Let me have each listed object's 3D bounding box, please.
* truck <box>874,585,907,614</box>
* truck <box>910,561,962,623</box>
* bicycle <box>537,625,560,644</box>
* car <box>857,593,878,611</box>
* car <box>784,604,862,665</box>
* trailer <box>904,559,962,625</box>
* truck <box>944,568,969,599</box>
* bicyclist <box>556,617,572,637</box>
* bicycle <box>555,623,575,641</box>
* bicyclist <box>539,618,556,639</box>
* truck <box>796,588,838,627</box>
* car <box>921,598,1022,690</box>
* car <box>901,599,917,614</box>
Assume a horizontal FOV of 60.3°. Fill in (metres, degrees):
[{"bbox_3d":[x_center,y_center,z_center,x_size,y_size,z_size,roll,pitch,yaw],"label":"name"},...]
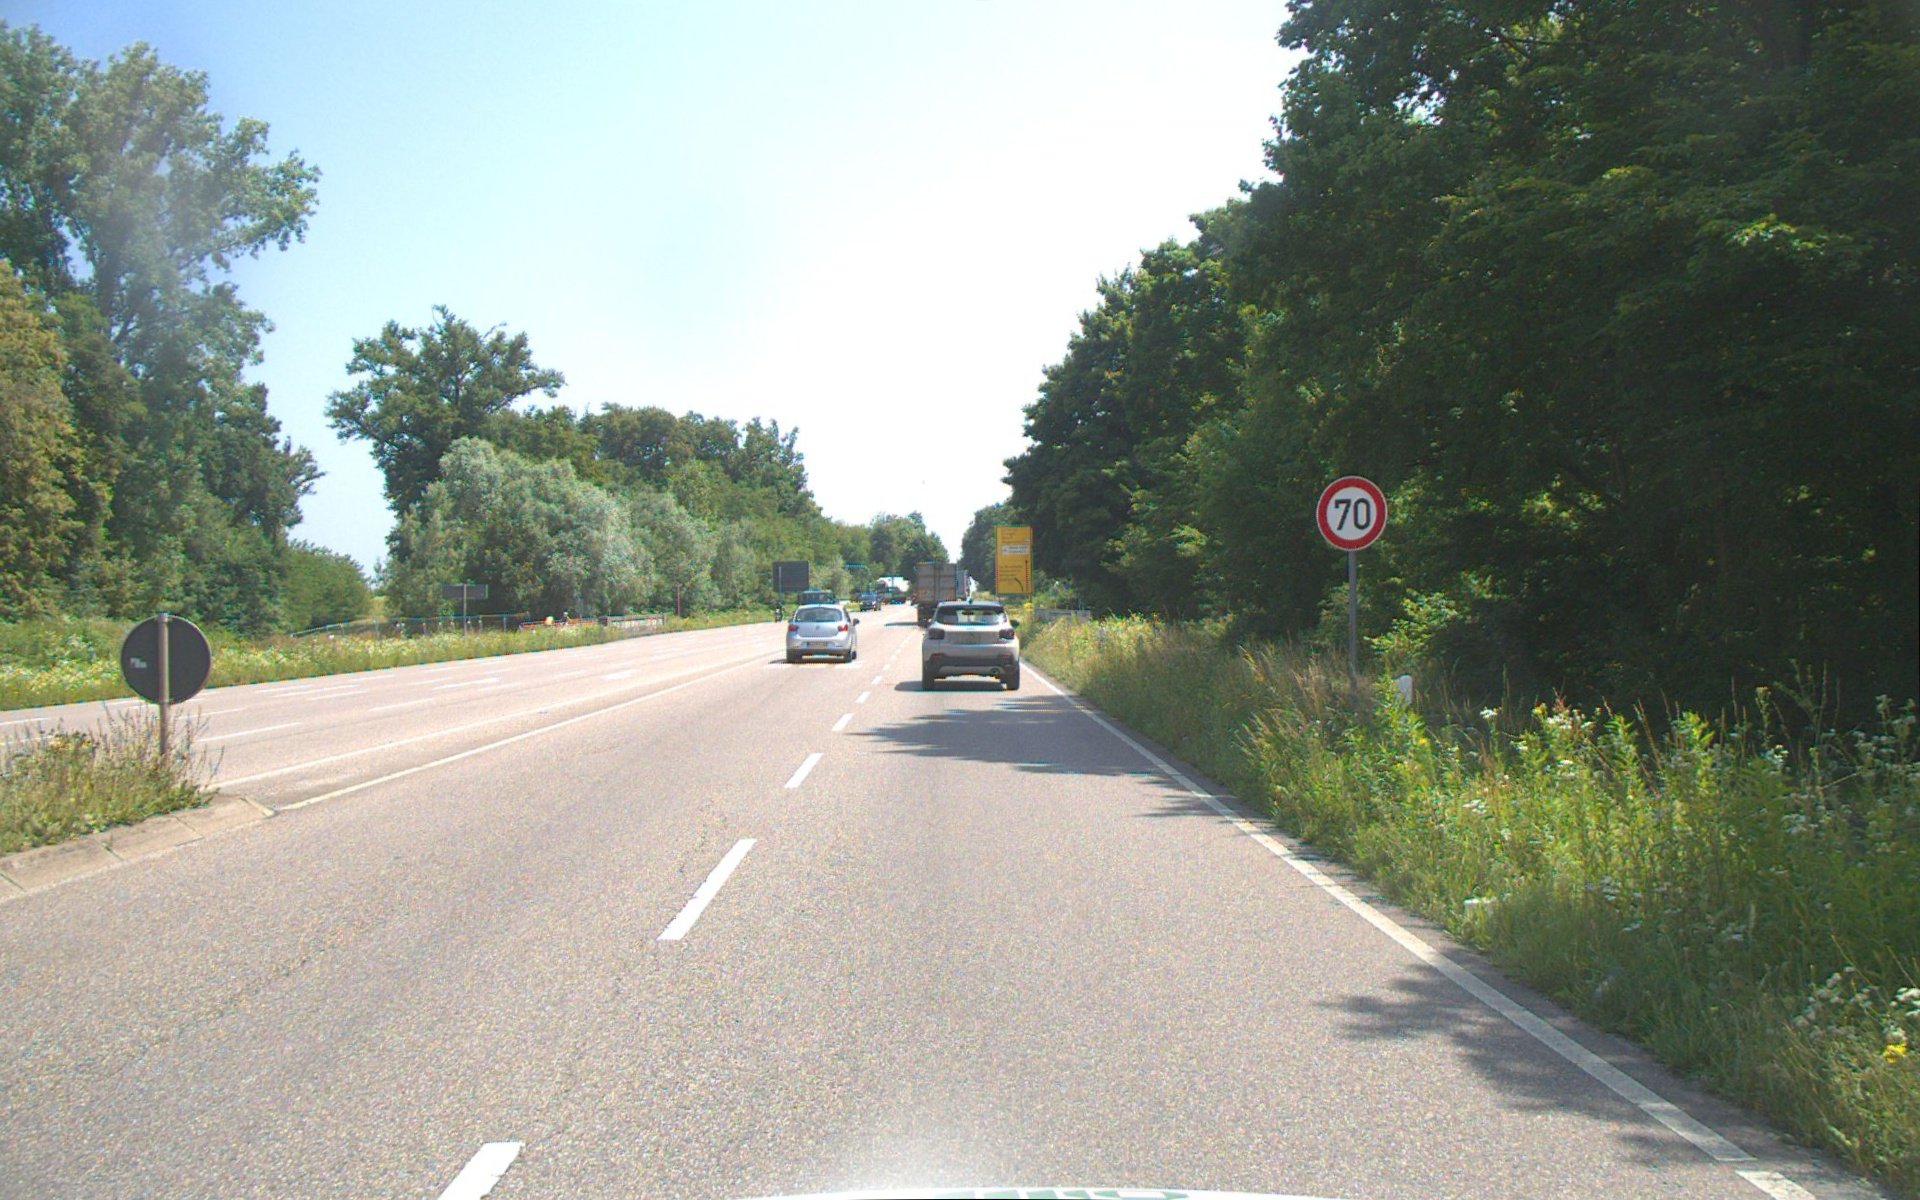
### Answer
[{"bbox_3d":[-10.550,-0.067,251.388,3.581,4.177,9.483,-2,0,-11],"label":"truck"},{"bbox_3d":[-1.581,-0.494,110.841,3.264,4.058,6.533,0,0,1],"label":"truck"},{"bbox_3d":[-24.781,2.084,99.565,0.661,1.022,1.802,-3,0,10],"label":"bicycle"},{"bbox_3d":[-10.330,0.275,185.017,1.953,1.914,4.959,-2,0,-1],"label":"car"},{"bbox_3d":[-3.443,0.841,42.188,1.631,1.455,3.828,0,0,1],"label":"car"},{"bbox_3d":[-1.641,-0.461,106.046,3.313,4.058,10.804,0,0,1],"label":"trailer"},{"bbox_3d":[-0.507,-2.323,234.649,3.426,4.261,10.782,0,0,-1],"label":"truck"},{"bbox_3d":[-24.596,1.658,102.772,0.719,1.216,0.592,-3,-1,11],"label":"bicyclist"},{"bbox_3d":[-24.574,1.988,102.846,0.591,1.023,1.557,-3,0,11],"label":"bicycle"},{"bbox_3d":[-24.805,1.734,99.502,0.741,1.216,0.592,-3,0,10],"label":"bicyclist"},{"bbox_3d":[-10.725,0.539,124.821,2.404,2.702,6.491,-4,0,0],"label":"truck"},{"bbox_3d":[0.219,0.762,30.564,1.731,1.561,4.000,-1,0,1],"label":"car"},{"bbox_3d":[-6.948,0.870,224.338,1.954,2.049,4.550,-2,0,-4],"label":"car"}]
